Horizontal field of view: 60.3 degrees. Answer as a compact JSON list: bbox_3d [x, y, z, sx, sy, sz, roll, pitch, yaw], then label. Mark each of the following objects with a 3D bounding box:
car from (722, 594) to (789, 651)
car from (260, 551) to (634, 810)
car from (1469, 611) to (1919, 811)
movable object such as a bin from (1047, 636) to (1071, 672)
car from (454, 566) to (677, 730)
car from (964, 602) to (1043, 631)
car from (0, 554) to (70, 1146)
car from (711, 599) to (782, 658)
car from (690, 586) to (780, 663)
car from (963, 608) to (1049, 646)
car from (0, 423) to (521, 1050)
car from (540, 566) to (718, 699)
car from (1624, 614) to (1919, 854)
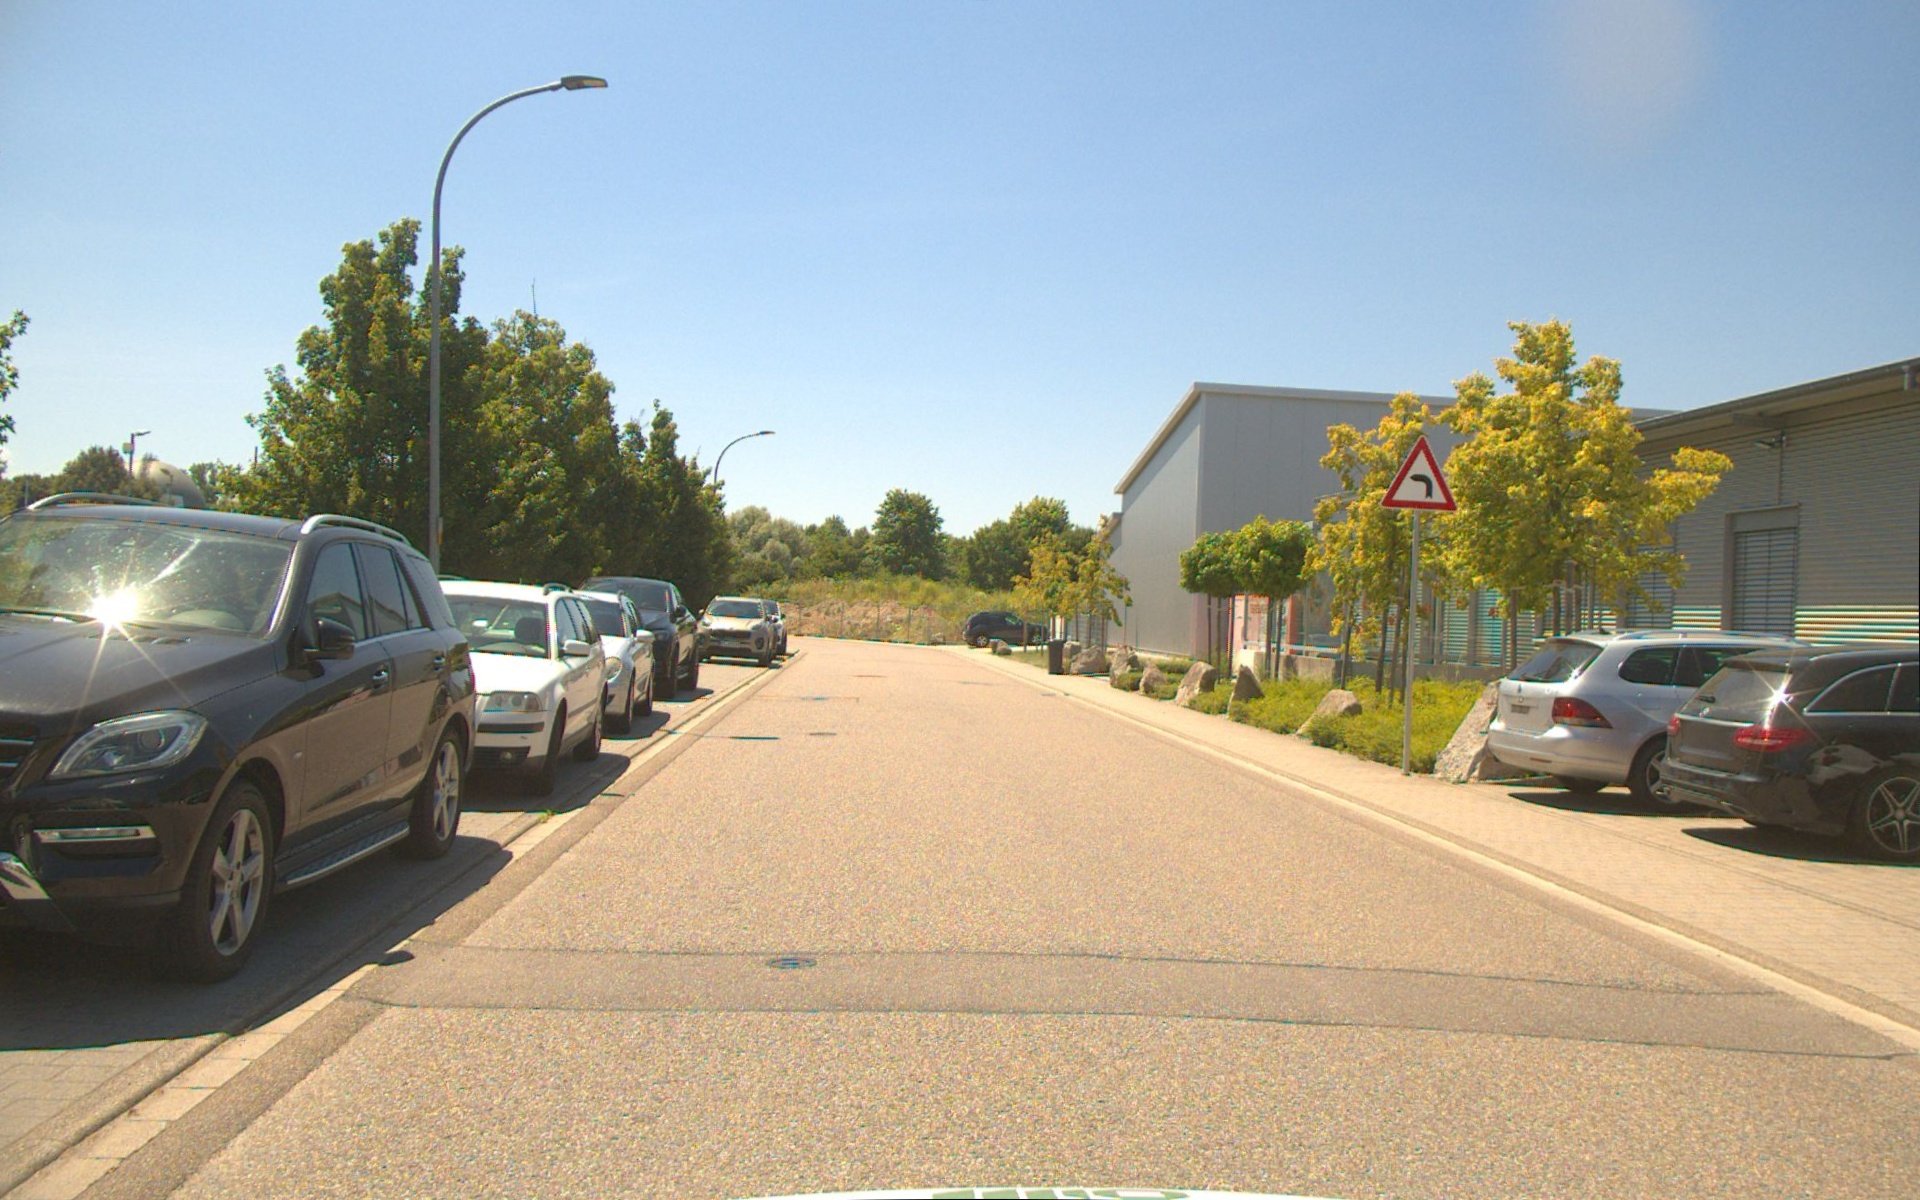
[{"bbox_3d":[-6.665,0.715,54.327,1.875,1.684,4.750,3,0,-4],"label":"car"},{"bbox_3d":[-3.765,0.520,13.062,1.816,1.545,4.898,4,0,-6],"label":"car"},{"bbox_3d":[6.941,0.947,14.709,4.194,1.568,1.912,2,0,-3],"label":"car"},{"bbox_3d":[2.702,1.470,45.080,0.547,0.963,0.539,2,-1,-5],"label":"movable object such as a bin"},{"bbox_3d":[-4.438,0.485,19.364,1.816,1.545,5.160,4,0,-6],"label":"car"},{"bbox_3d":[2.253,0.840,86.630,3.931,1.487,1.890,0,0,-5],"label":"car"},{"bbox_3d":[-3.098,0.558,1.825,1.815,1.468,4.750,4,0,-4],"label":"car"},{"bbox_3d":[-6.283,0.810,49.039,1.876,1.517,4.407,4,0,-6],"label":"car"},{"bbox_3d":[-5.678,0.591,42.187,1.875,1.743,4.409,4,0,-4],"label":"car"},{"bbox_3d":[2.200,1.308,79.925,3.931,1.684,1.856,-2,0,-5],"label":"car"},{"bbox_3d":[-3.432,0.350,7.237,1.815,1.789,4.983,4,0,-3],"label":"car"},{"bbox_3d":[-5.032,0.465,25.842,1.952,1.743,5.003,4,0,-4],"label":"car"},{"bbox_3d":[7.081,0.947,12.140,3.618,1.568,1.912,2,0,-3],"label":"car"}]
